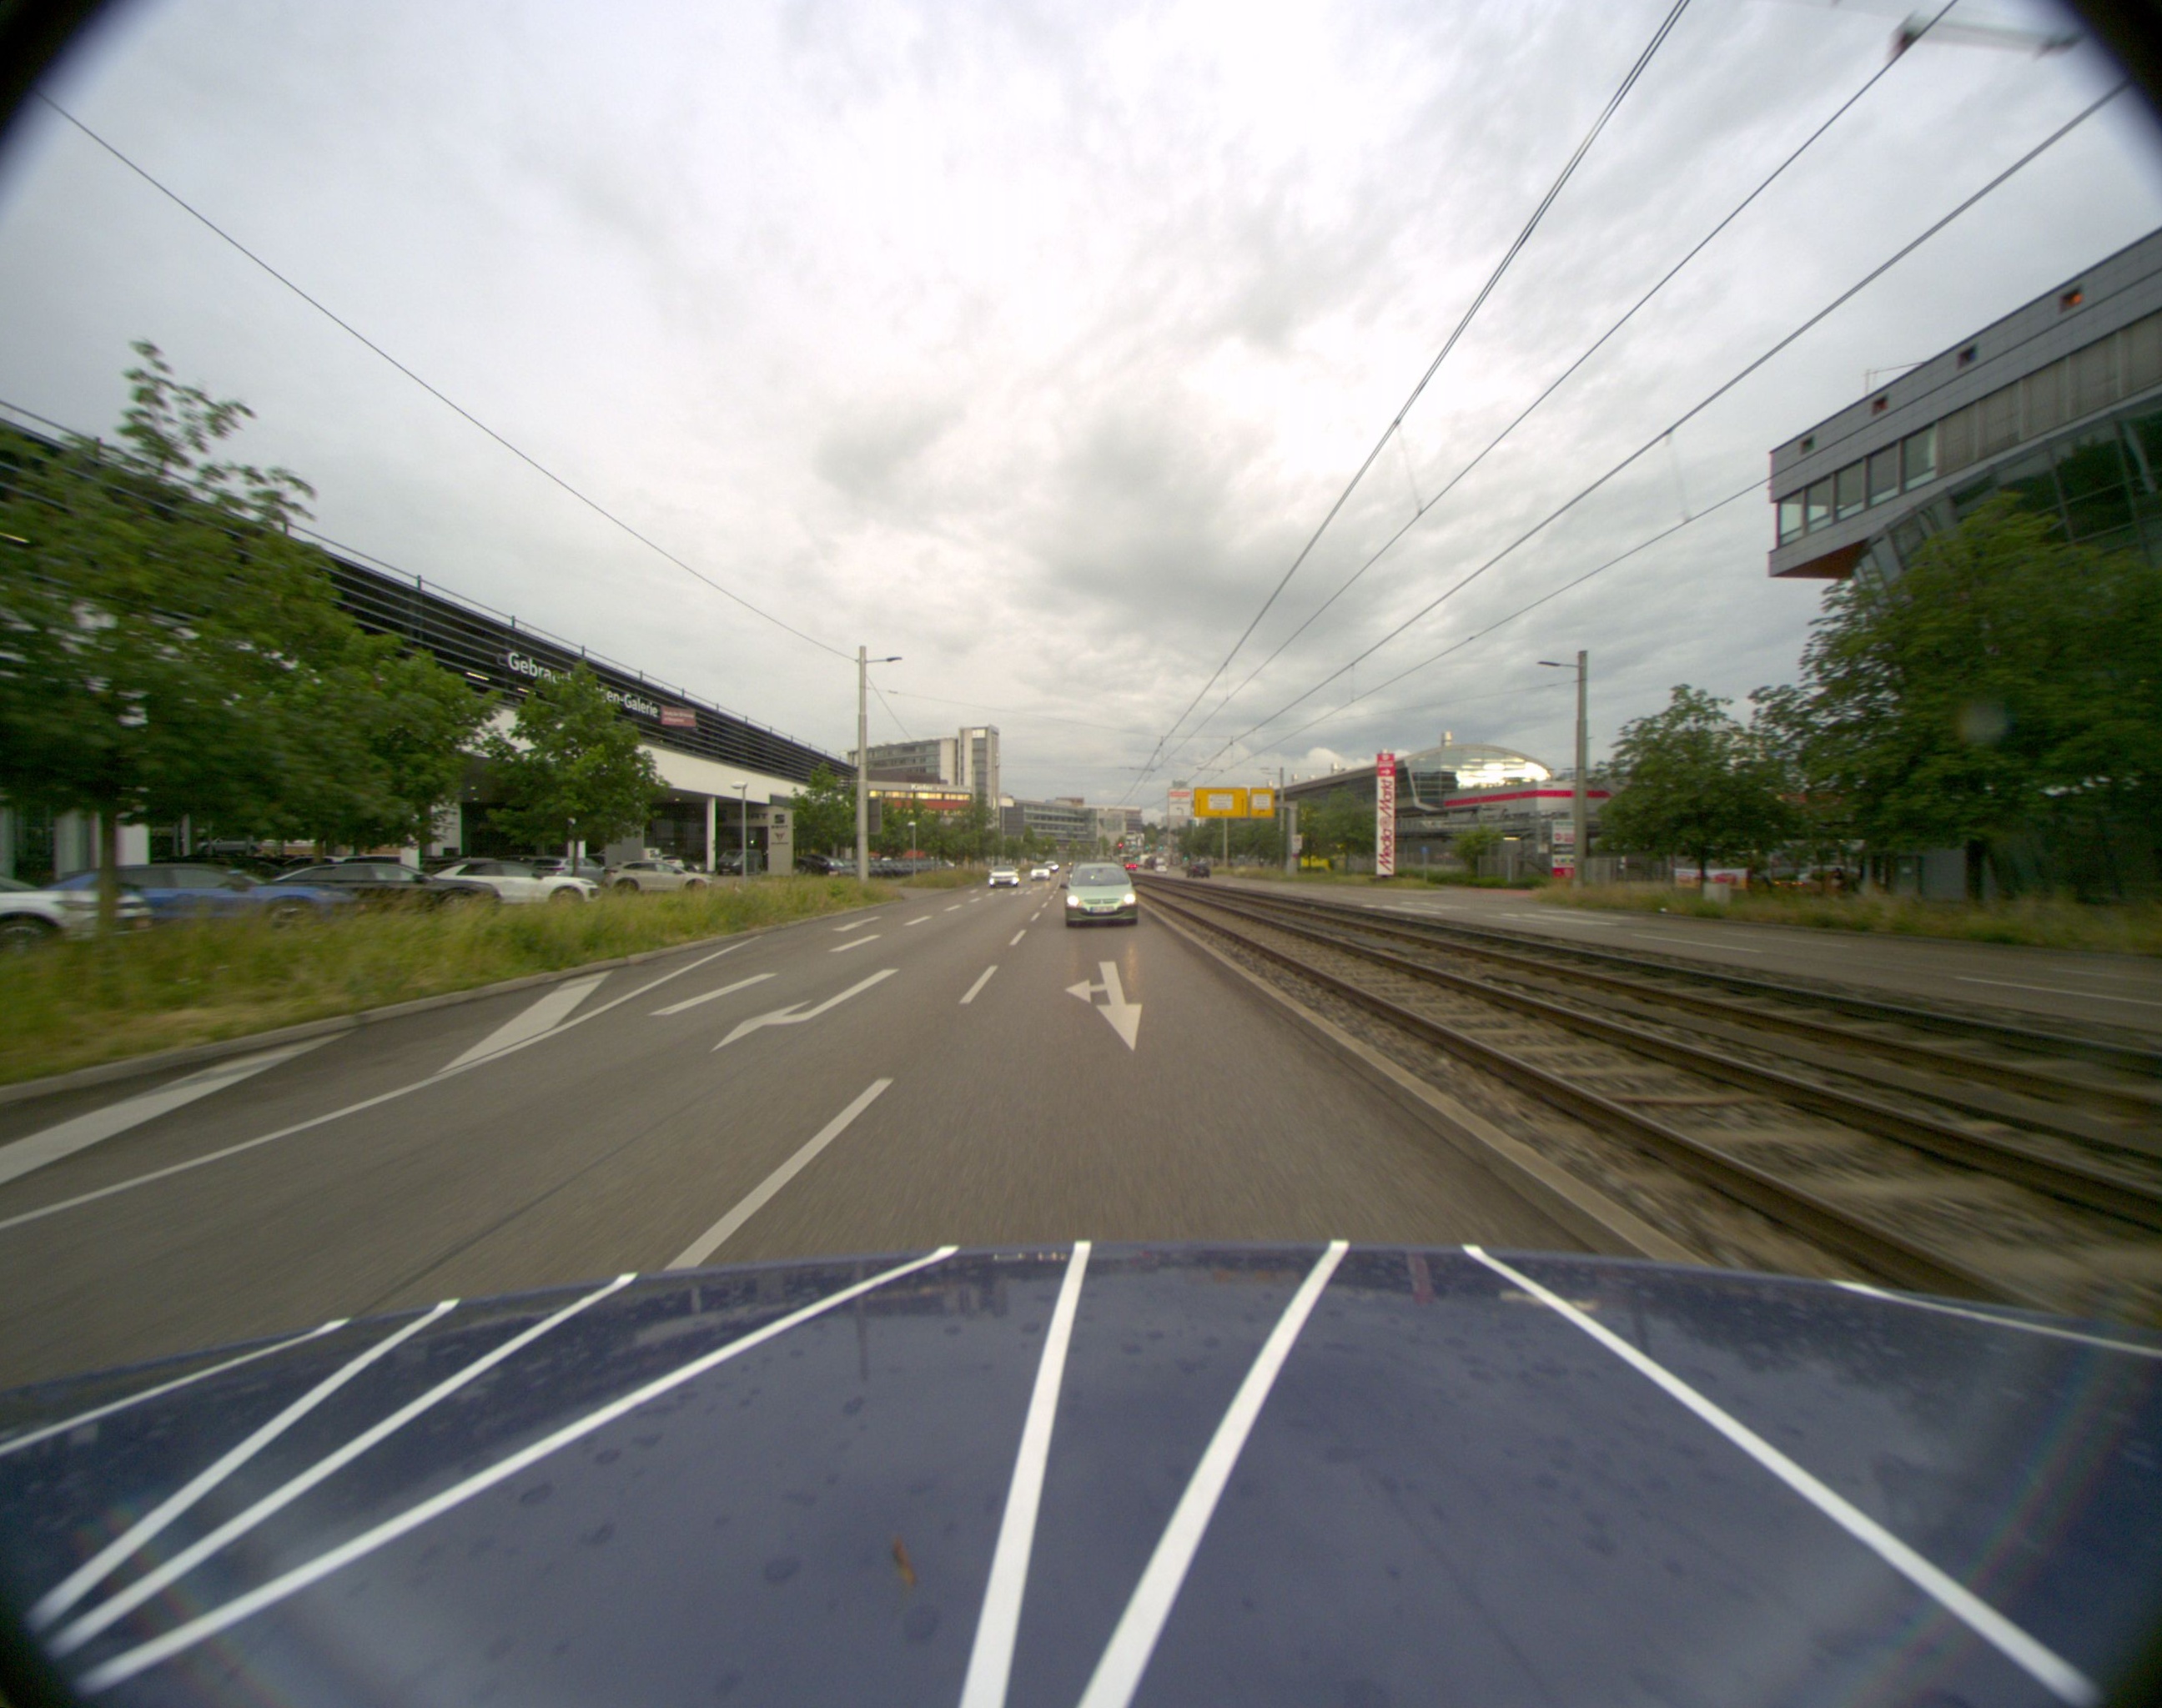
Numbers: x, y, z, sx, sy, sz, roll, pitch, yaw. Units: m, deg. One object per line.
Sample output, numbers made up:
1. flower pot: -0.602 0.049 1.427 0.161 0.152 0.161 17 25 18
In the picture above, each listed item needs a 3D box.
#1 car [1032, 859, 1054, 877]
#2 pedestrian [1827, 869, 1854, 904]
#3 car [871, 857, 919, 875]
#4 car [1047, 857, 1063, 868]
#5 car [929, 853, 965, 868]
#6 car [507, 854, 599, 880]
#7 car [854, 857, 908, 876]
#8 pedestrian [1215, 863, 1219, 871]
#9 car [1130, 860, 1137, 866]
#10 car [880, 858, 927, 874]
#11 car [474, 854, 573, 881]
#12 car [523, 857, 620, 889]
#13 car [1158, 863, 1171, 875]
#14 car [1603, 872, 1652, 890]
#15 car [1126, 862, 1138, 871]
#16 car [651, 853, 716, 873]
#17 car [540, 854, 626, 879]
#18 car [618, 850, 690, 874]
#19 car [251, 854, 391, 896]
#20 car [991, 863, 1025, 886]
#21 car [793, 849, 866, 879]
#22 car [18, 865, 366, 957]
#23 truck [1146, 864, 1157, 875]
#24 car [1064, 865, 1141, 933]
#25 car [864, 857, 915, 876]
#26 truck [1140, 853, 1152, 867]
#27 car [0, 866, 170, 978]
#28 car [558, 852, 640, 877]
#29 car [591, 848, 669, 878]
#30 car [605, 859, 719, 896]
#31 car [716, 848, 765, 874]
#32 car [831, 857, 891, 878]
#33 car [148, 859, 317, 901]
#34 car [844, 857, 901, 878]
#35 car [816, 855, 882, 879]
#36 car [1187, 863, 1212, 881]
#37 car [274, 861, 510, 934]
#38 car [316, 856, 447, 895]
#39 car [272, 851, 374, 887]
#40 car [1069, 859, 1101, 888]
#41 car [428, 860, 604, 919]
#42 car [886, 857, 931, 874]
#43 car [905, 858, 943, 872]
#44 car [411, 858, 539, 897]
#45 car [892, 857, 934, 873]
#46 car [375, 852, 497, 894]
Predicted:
1. car: -3.468 1.234 69.512 1.818 1.584 3.836 0 0 0
2. pedestrian: 36.748 1.576 36.772 0.810 1.669 0.580 1 0 -11
3. car: -17.205 1.078 70.249 4.157 1.519 1.828 2 0 -21
4. car: -3.853 1.278 112.148 1.889 1.584 3.983 -1 0 5
5. car: -17.980 0.883 102.192 4.504 1.980 1.818 2 0 -19
6. car: -30.062 0.756 43.369 3.997 1.416 1.764 0 0 -1
7. car: -17.039 1.063 64.833 4.158 1.560 1.823 2 0 -26
8. pedestrian: 27.465 2.664 153.280 0.684 1.554 0.627 -2 0 -1
9. car: 15.474 2.615 222.856 1.810 1.490 4.442 3 -1 1
10. car: -17.067 1.124 73.043 4.157 1.450 1.791 2 0 -21
11. car: -30.039 0.722 40.991 3.997 1.416 1.764 0 0 -1
12. car: -26.146 0.921 39.196 1.899 1.459 4.695 2 0 -1
13. car: 12.481 2.169 113.934 1.602 1.529 2.949 3 3 0
14. car: 44.205 2.169 61.459 4.114 1.275 1.660 -2 0 -29
15. car: 9.131 2.234 135.363 1.807 1.420 4.236 1 -1 -1
16. car: -30.294 0.668 57.992 4.043 1.504 1.723 0 0 -3
17. car: -29.905 0.756 45.704 3.997 1.436 1.764 0 0 -1
18. car: -29.936 0.582 53.351 3.997 1.622 1.905 0 0 -1
19. car: -29.892 0.806 29.977 3.826 1.578 1.638 0 0 -2
20. car: -4.923 1.357 51.753 1.878 1.485 3.837 -1 0 0
21. car: -17.362 0.672 52.425 4.709 1.865 1.828 1 0 23
22. car: -17.371 1.049 15.221 4.198 1.559 1.794 1 1 -35
23. truck: 15.951 3.502 172.431 2.243 2.549 7.017 0 0 4
24. car: 0.464 1.062 19.449 1.762 1.489 4.137 0 0 -1
25. car: -17.105 1.073 67.718 4.157 1.560 1.906 2 0 -21
26. truck: 17.767 1.588 207.436 2.734 3.339 7.150 2 2 2
27. car: -17.750 1.026 11.718 4.362 1.617 1.852 1 1 -31
28. car: -30.483 0.660 48.149 3.997 1.527 1.905 0 0 -1
29. car: -30.109 0.582 50.772 4.037 1.964 1.944 0 0 -1
30. car: -17.814 0.988 32.337 4.108 1.457 1.743 1 1 -34
31. car: -26.098 0.523 58.421 1.892 1.927 4.429 0 0 -2
32. car: -17.095 1.058 59.070 4.159 1.552 1.865 2 0 -27
33. car: -30.482 0.925 27.410 3.829 1.443 1.732 0 0 -9
34. car: -16.990 1.065 61.866 4.158 1.595 1.823 2 0 -26
35. car: -17.132 0.975 56.196 4.343 1.603 1.865 2 0 -30
36. car: 12.313 1.916 79.087 1.998 1.725 4.214 2 -2 1
37. car: -16.936 1.018 18.935 4.199 1.559 1.794 1 1 -41
38. car: -30.171 0.905 32.872 3.996 1.499 1.786 -2 0 1
39. car: -45.568 0.835 45.818 1.999 2.002 4.097 0 1 -1
40. car: 0.255 1.104 44.687 1.762 1.535 3.714 -2 0 1
41. car: -16.949 1.030 22.975 4.108 1.559 1.794 1 1 -37
42. car: -17.246 1.140 75.829 4.157 1.525 1.791 2 0 -21
43. car: -17.313 1.226 83.801 4.059 1.493 1.685 2 0 -12
44. car: -25.723 0.958 32.497 1.784 1.459 4.693 2 0 -1
45. car: -17.301 1.126 78.259 4.061 1.567 1.730 2 0 -21
46. car: -29.828 0.859 35.196 3.996 1.718 1.891 -2 0 1
